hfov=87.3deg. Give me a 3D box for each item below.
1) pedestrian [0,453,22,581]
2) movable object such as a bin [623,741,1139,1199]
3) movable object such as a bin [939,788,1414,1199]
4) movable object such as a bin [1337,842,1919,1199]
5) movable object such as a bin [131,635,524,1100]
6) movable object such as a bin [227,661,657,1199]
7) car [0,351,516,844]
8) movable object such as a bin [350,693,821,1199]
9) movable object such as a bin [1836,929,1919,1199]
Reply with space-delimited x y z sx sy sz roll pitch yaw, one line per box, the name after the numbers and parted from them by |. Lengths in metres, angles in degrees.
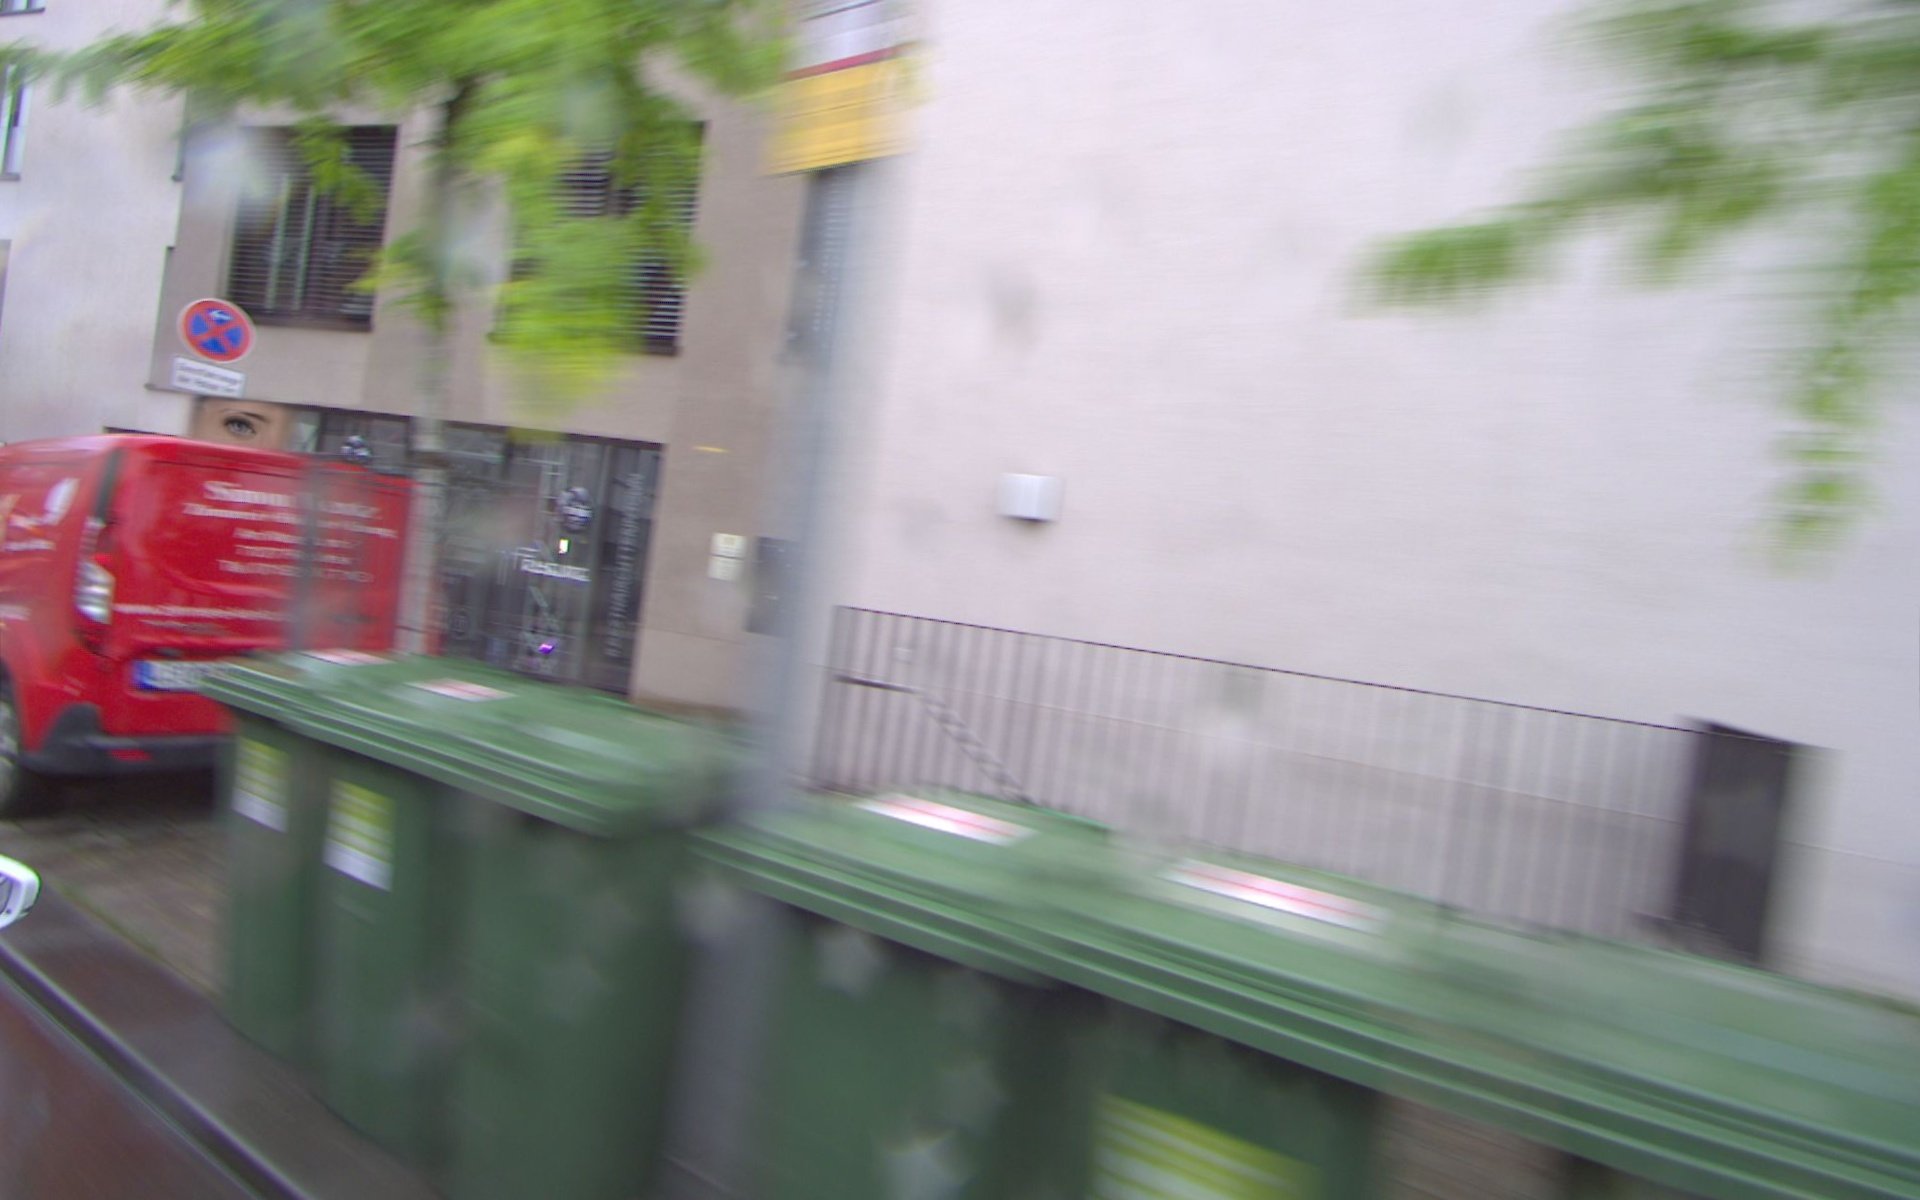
-16.148 -1.416 16.382 1.065 2.037 0.868 6 -1 33 | pedestrian
-0.127 0.878 1.876 0.591 1.101 0.710 7 1 29 | movable object such as a bin
0.355 0.928 1.610 0.507 1.101 0.703 7 1 29 | movable object such as a bin
0.835 0.980 1.328 0.591 1.101 0.710 7 1 29 | movable object such as a bin
-1.839 0.700 2.967 0.591 1.101 0.710 7 1 32 | movable object such as a bin
-1.331 0.753 2.642 0.591 1.101 0.710 7 1 32 | movable object such as a bin
-4.860 -0.136 5.962 4.531 1.931 1.836 6 1 34 | car
-0.834 0.808 2.325 0.591 1.101 0.710 7 1 32 | movable object such as a bin
1.350 1.033 1.020 0.591 1.101 0.710 7 1 29 | movable object such as a bin
